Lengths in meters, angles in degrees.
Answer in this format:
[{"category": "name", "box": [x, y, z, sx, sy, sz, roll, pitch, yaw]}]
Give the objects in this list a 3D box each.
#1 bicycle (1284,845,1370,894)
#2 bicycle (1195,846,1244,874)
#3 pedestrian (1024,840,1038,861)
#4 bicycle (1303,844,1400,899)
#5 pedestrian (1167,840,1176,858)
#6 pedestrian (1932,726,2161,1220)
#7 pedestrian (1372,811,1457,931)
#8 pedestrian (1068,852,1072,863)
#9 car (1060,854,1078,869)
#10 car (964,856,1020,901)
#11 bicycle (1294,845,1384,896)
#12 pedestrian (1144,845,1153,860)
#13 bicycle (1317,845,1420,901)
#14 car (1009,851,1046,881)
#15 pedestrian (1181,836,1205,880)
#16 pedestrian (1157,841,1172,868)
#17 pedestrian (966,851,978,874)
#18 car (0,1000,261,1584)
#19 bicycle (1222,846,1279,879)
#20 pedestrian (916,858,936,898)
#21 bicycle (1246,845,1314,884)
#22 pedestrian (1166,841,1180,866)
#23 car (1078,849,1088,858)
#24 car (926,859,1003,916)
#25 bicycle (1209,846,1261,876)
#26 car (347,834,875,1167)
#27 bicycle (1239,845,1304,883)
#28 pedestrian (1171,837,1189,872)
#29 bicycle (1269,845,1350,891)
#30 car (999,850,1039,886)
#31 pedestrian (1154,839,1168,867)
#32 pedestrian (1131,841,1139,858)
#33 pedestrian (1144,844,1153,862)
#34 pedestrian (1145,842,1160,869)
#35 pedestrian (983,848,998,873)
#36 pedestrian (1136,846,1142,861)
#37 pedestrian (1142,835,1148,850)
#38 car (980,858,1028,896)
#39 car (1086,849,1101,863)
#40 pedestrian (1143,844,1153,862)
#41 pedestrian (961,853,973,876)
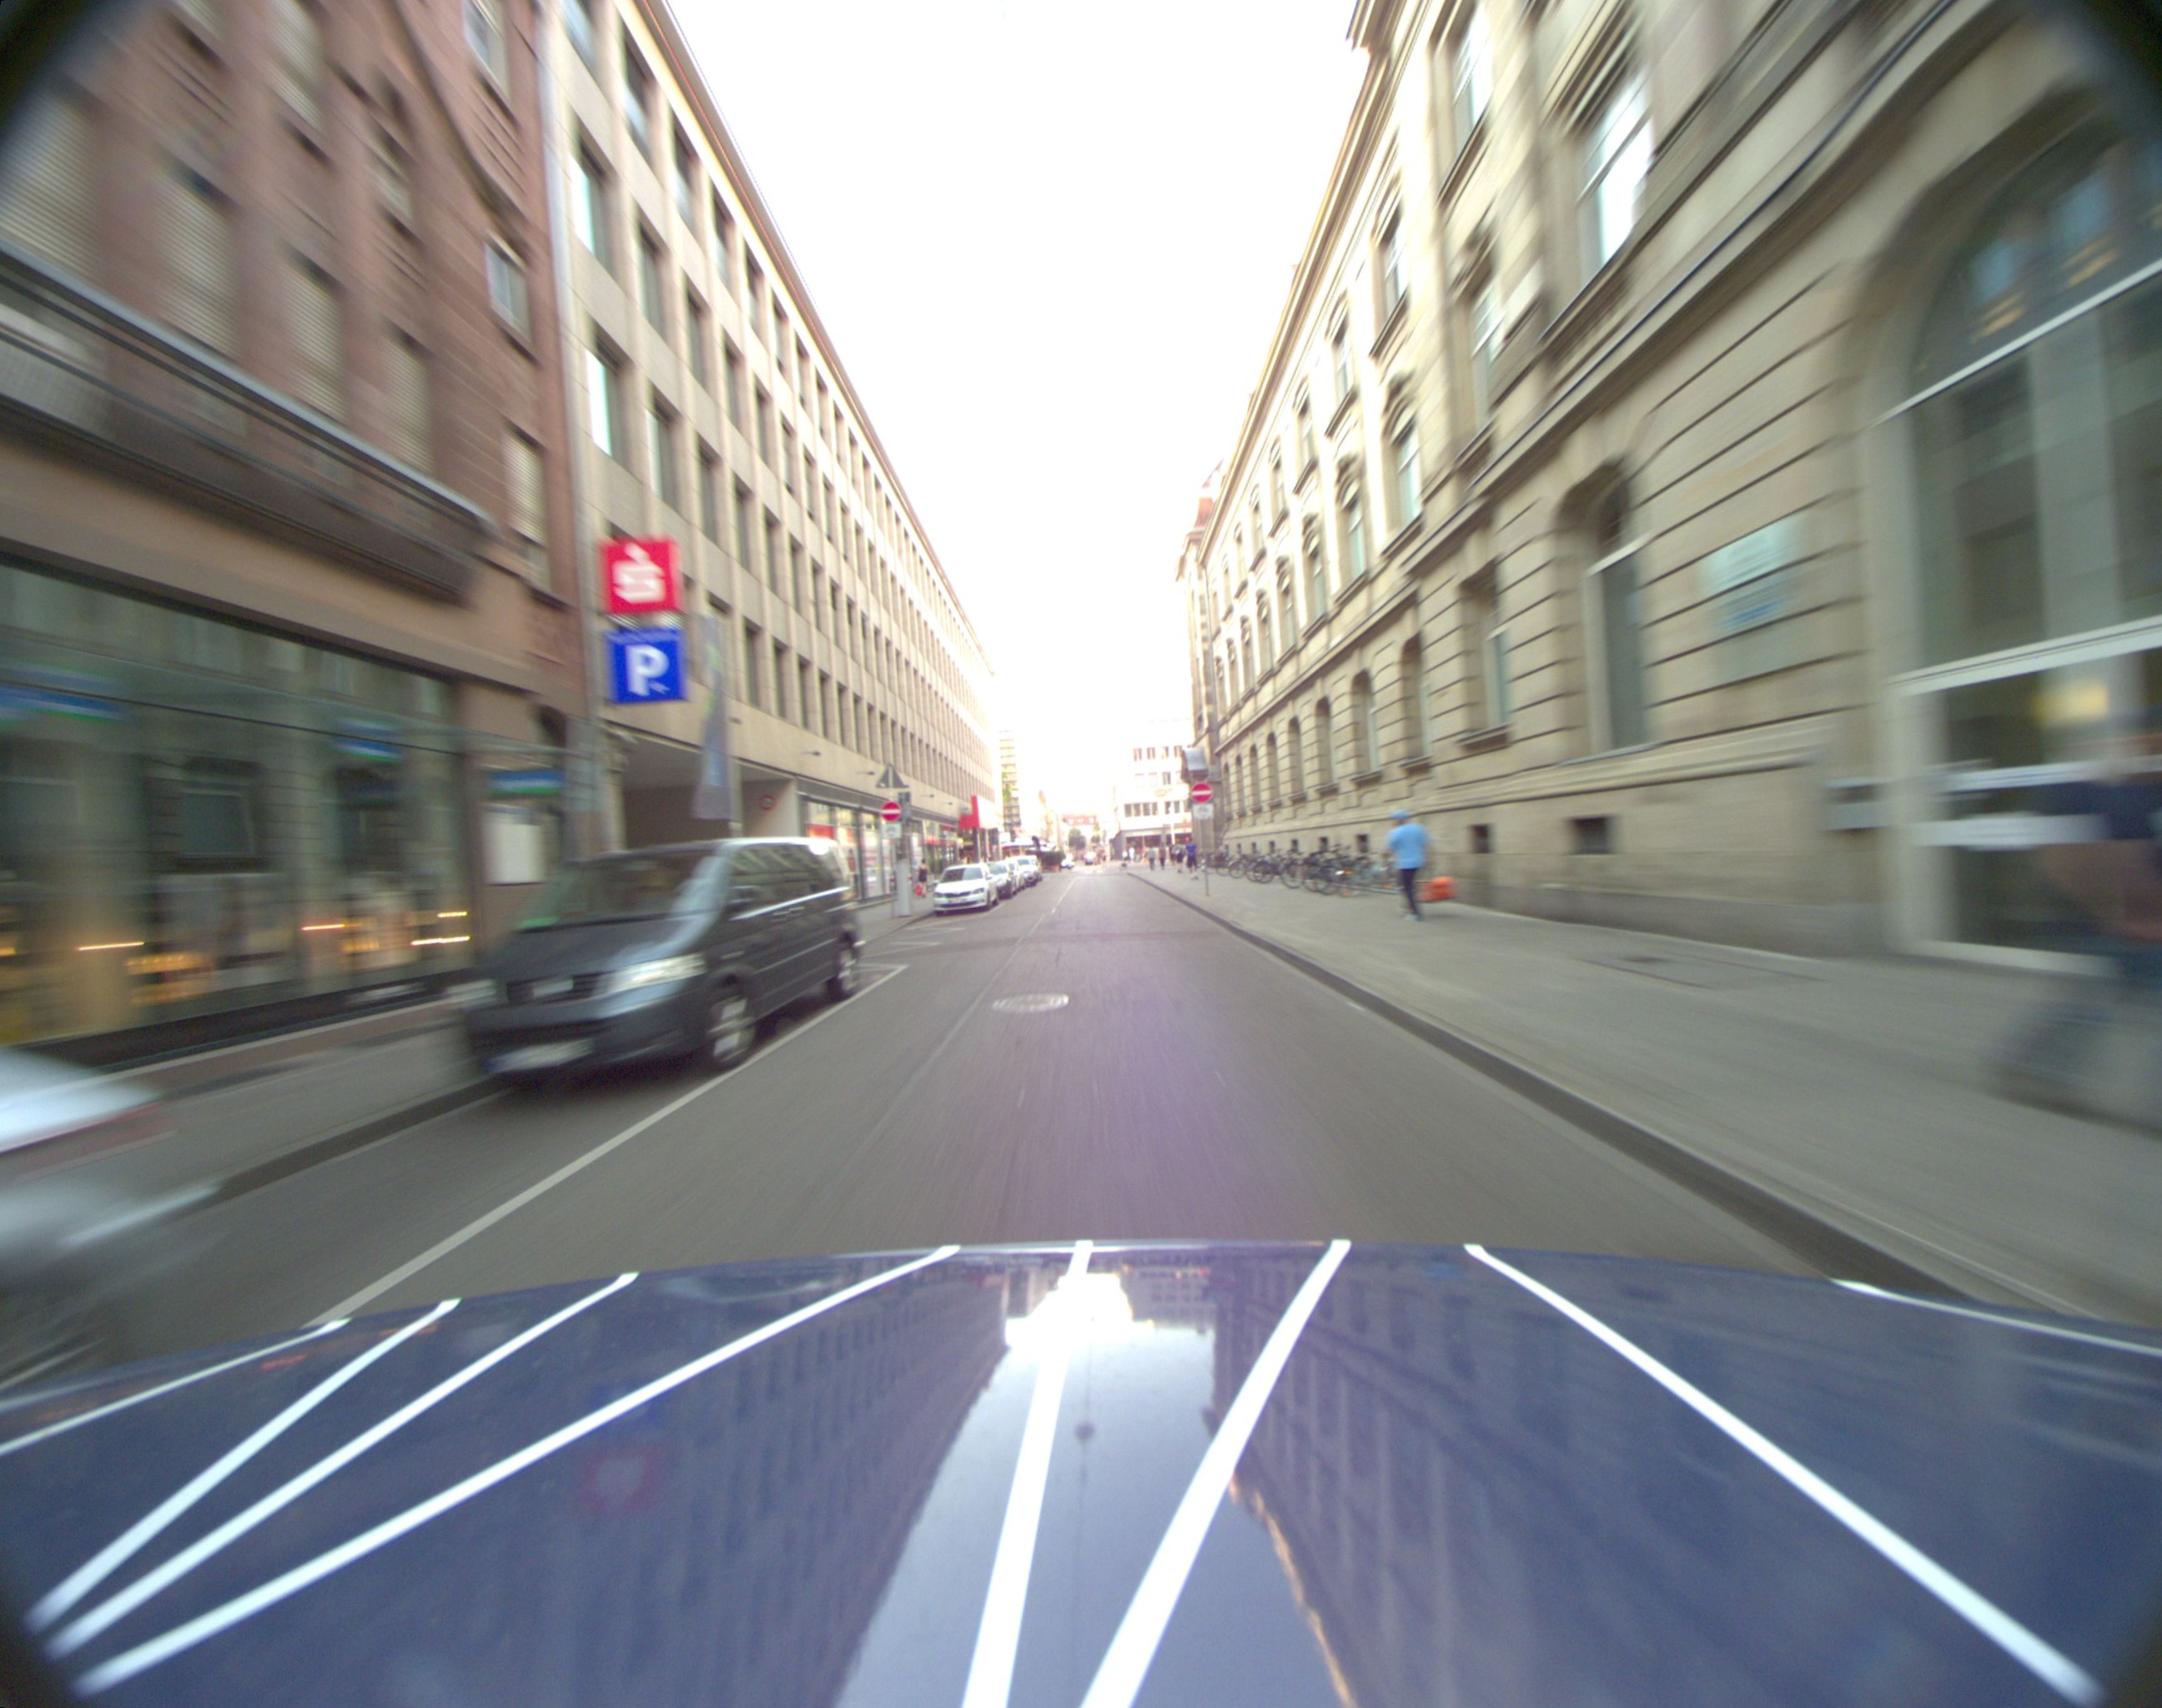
[{"category": "bicycle", "box": [6.421, 0.397, 19.874, 1.943, 1.072, 0.730, -6, 1, -6]}, {"category": "bicycle", "box": [6.521, 0.258, 35.819, 2.024, 1.102, 0.730, -6, 1, -5]}, {"category": "pedestrian", "box": [-4.206, -0.283, 64.195, 0.685, 1.751, 0.801, -3, 1, 42]}, {"category": "bicycle", "box": [6.324, 0.402, 17.837, 1.942, 1.072, 0.748, -6, 1, 0]}, {"category": "pedestrian", "box": [8.617, -0.499, 72.143, 0.732, 1.679, 0.746, -3, 1, 3]}, {"category": "pedestrian", "box": [4.161, 0.391, 2.827, 0.811, 1.741, 0.969, -5, 2, 1]}, {"category": "pedestrian", "box": [5.172, 0.252, 11.829, 0.831, 1.736, 0.769, -6, 1, 1]}, {"category": "pedestrian", "box": [-1.709, 0.479, 117.485, 0.650, 1.652, 0.650, -3, 1, 0]}, {"category": "car", "box": [-1.195, 0.737, 76.170, 1.741, 1.407, 4.681, -1, 0, 0]}, {"category": "car", "box": [-3.480, 0.916, 30.406, 1.661, 1.439, 4.444, -5, 1, -1]}, {"category": "bicycle", "box": [6.478, 0.405, 19.101, 1.943, 1.072, 0.730, -6, 1, -6]}, {"category": "pedestrian", "box": [7.076, -0.176, 79.708, 0.676, 1.532, 0.640, -4, 1, -24]}, {"category": "bicycle", "box": [6.385, 0.415, 16.917, 1.940, 1.040, 0.721, -5, 1, -3]}, {"category": "car", "box": [-3.289, 0.720, 47.256, 1.744, 1.589, 4.714, -6, 0, 1]}, {"category": "pedestrian", "box": [4.730, 0.149, 32.038, 0.777, 1.778, 0.821, -4, 1, 18]}, {"category": "pedestrian", "box": [5.482, 0.033, 49.890, 0.731, 1.658, 0.858, -7, 1, 4]}, {"category": "pedestrian", "box": [-8.661, 0.687, 60.600, 0.799, 1.751, 0.687, -3, 1, -5]}, {"category": "car", "box": [-3.858, 1.320, 0.417, 1.691, 1.445, 4.498, -6, 0, 2]}, {"category": "bicycle", "box": [6.571, 0.308, 29.504, 1.942, 1.072, 0.730, -6, 1, -4]}, {"category": "pedestrian", "box": [-6.500, 0.988, 31.820, 0.650, 1.626, 0.650, -2, 1, 0]}, {"category": "bicycle", "box": [6.491, 0.321, 24.812, 1.943, 1.072, 0.730, -6, 1, -6]}, {"category": "pedestrian", "box": [6.213, -0.046, 51.402, 0.757, 1.632, 0.749, -7, 1, 8]}, {"category": "car", "box": [0.368, -0.040, 152.253, 1.798, 1.705, 4.000, -3, 0, 2]}, {"category": "car", "box": [-3.625, 0.991, 24.435, 1.661, 1.439, 4.307, -5, 1, 0]}, {"category": "bicycle", "box": [6.667, 0.309, 32.943, 2.026, 1.072, 0.729, -6, 2, -18]}, {"category": "car", "box": [-3.756, 0.925, 7.500, 1.851, 2.046, 5.053, -5, 1, 0]}, {"category": "bicycle", "box": [6.496, 0.333, 26.001, 1.943, 1.072, 0.730, -6, 1, -6]}, {"category": "pedestrian", "box": [5.349, 0.020, 40.990, 0.719, 1.770, 0.800, -5, 1, 1]}, {"category": "bicycle", "box": [6.357, 0.384, 21.190, 1.943, 1.072, 0.730, -6, 1, -6]}, {"category": "car", "box": [-3.311, 0.701, 41.434, 1.780, 1.656, 4.812, -5, 1, -1]}, {"category": "pedestrian", "box": [5.440, -0.077, 51.490, 0.718, 1.819, 0.870, -7, 1, 8]}, {"category": "pedestrian", "box": [6.116, -0.478, 85.885, 0.783, 1.882, 0.642, -4, 1, 1]}, {"category": "pedestrian", "box": [6.456, -0.106, 72.591, 0.795, 1.679, 0.769, -3, 1, 3]}, {"category": "pedestrian", "box": [4.690, 0.099, 49.902, 0.727, 1.732, 0.839, -7, 1, 4]}, {"category": "pedestrian", "box": [-7.099, 0.547, 59.519, 0.801, 1.908, 0.686, -4, 1, -32]}, {"category": "pedestrian", "box": [6.920, -0.095, 90.108, 0.545, 1.698, 0.558, -5, 1, 1]}, {"category": "pedestrian", "box": [7.338, -1.364, 87.281, 0.545, 1.698, 0.558, -5, 1, 1]}, {"category": "car", "box": [-3.567, 1.042, 35.960, 1.661, 1.439, 3.868, -5, 1, 2]}, {"category": "car", "box": [1.654, 0.251, 100.692, 1.824, 1.729, 4.000, -3, 0, 0]}, {"category": "pedestrian", "box": [6.319, -0.123, 71.777, 0.795, 1.679, 0.769, -3, 1, 3]}, {"category": "pedestrian", "box": [-8.960, 0.823, 59.775, 0.799, 1.751, 0.687, -3, 1, -4]}]
